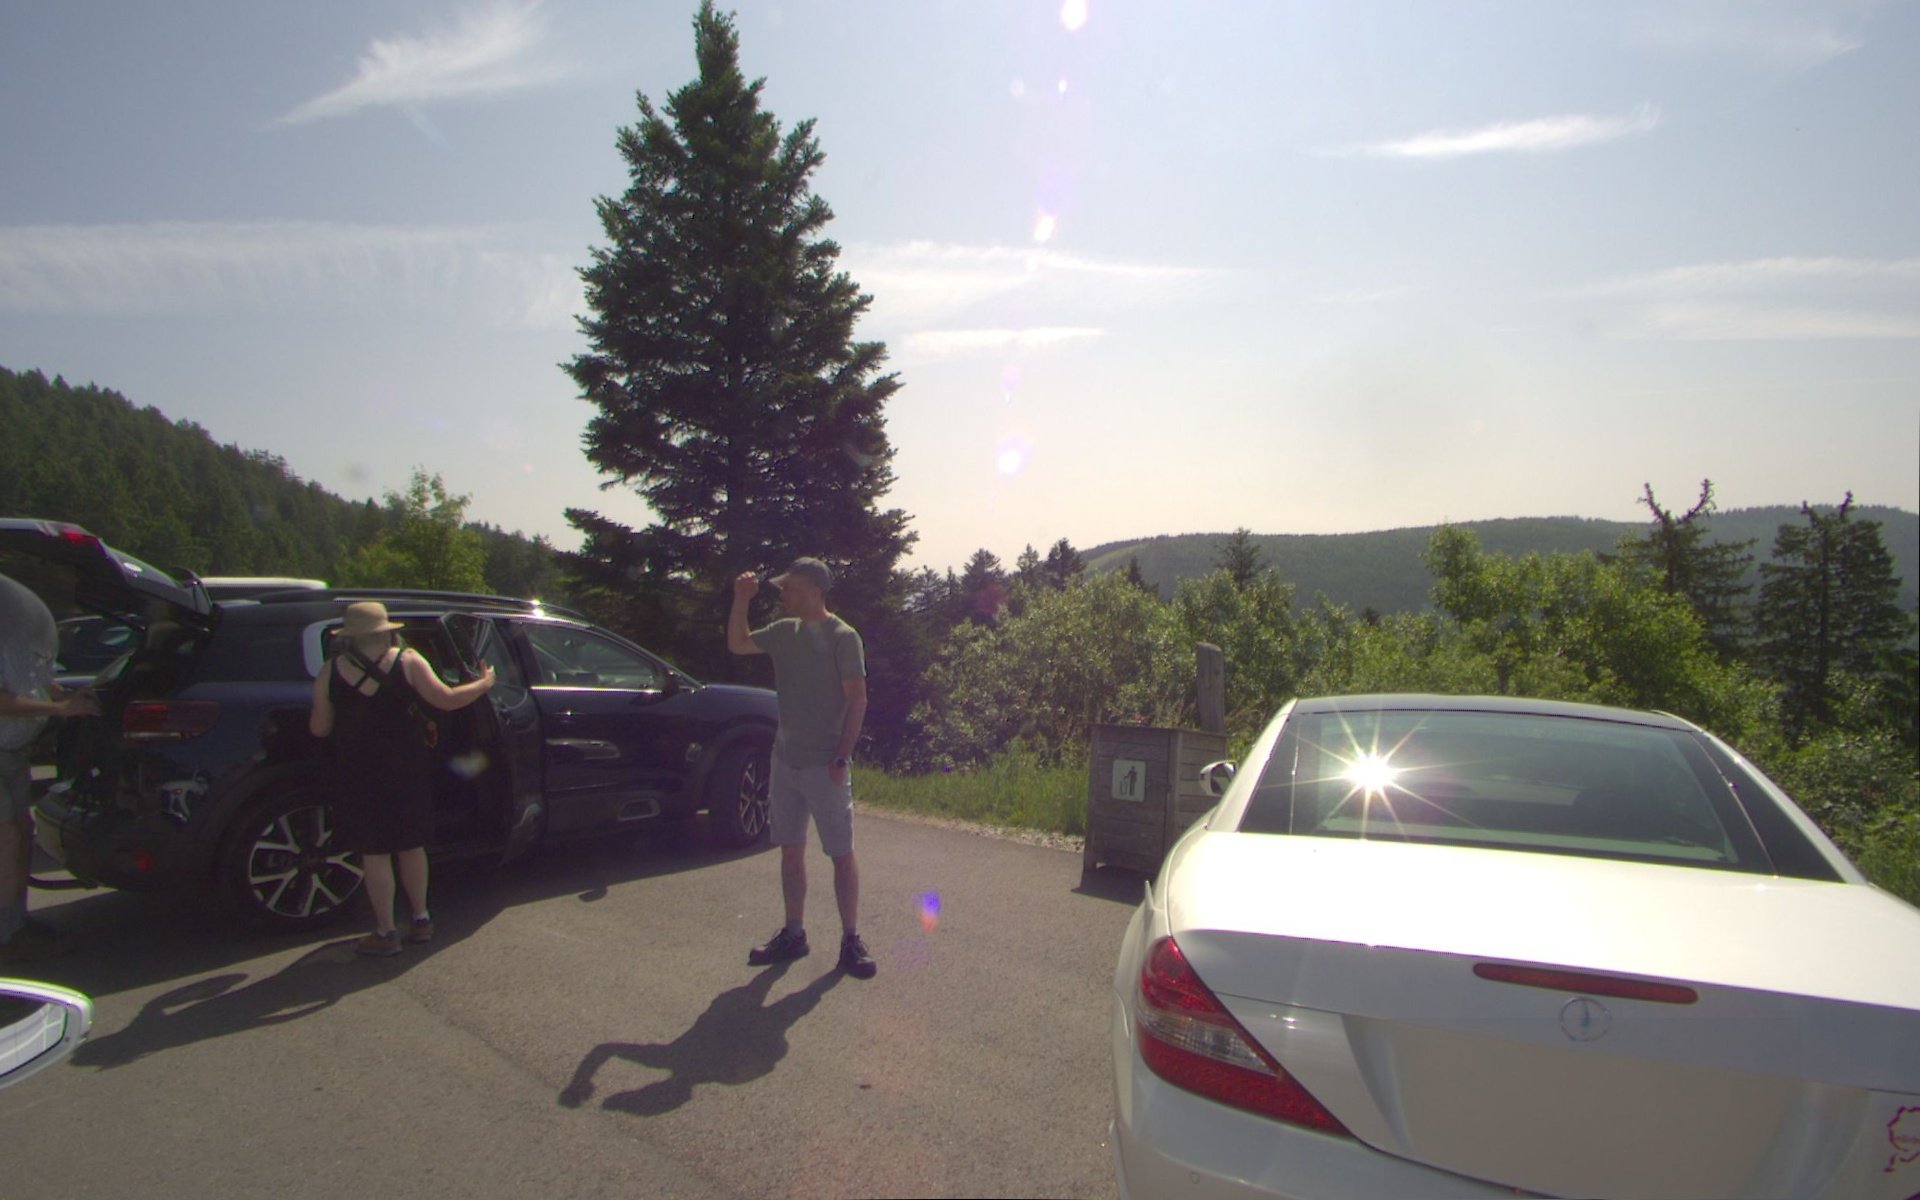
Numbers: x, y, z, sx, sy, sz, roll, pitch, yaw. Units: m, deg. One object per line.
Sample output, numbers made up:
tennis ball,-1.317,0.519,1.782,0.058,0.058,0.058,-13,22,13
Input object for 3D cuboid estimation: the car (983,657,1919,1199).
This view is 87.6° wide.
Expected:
car,1.665,0.900,3.512,1.726,1.312,4.404,0,-2,22

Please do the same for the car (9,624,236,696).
car,-19.614,1.340,23.564,1.604,1.417,3.961,-1,0,45

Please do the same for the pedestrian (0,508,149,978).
pedestrian,-4.158,0.573,4.344,0.724,1.896,0.757,1,1,-15

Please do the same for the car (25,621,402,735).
car,-10.805,1.028,14.709,1.820,1.285,4.216,-1,0,45

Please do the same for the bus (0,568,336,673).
bus,-31.414,0.691,37.931,12.965,3.579,3.023,-2,0,-35

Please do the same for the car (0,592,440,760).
car,-9.378,0.801,12.343,4.914,1.718,1.927,-1,0,-43

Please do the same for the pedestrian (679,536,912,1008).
pedestrian,-0.687,0.685,4.347,0.735,1.823,0.735,-1,-1,18

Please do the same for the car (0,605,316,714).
car,-15.014,1.007,18.414,2.027,1.673,5.001,-1,0,45

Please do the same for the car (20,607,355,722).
car,-12.751,0.969,16.712,1.820,1.574,4.216,-1,0,45

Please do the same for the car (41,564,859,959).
car,-2.841,0.808,6.464,1.848,1.646,4.328,-2,-4,39

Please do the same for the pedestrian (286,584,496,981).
pedestrian,-2.596,0.769,4.585,0.531,1.633,0.710,-2,-2,42

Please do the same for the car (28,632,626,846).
car,-5.150,0.987,8.695,1.680,1.394,4.070,-1,-2,36

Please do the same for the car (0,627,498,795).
car,-7.227,1.004,10.457,1.682,1.394,4.066,-1,-2,39

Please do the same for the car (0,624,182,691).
car,-22.551,1.433,25.622,1.842,1.468,3.961,-1,0,45
